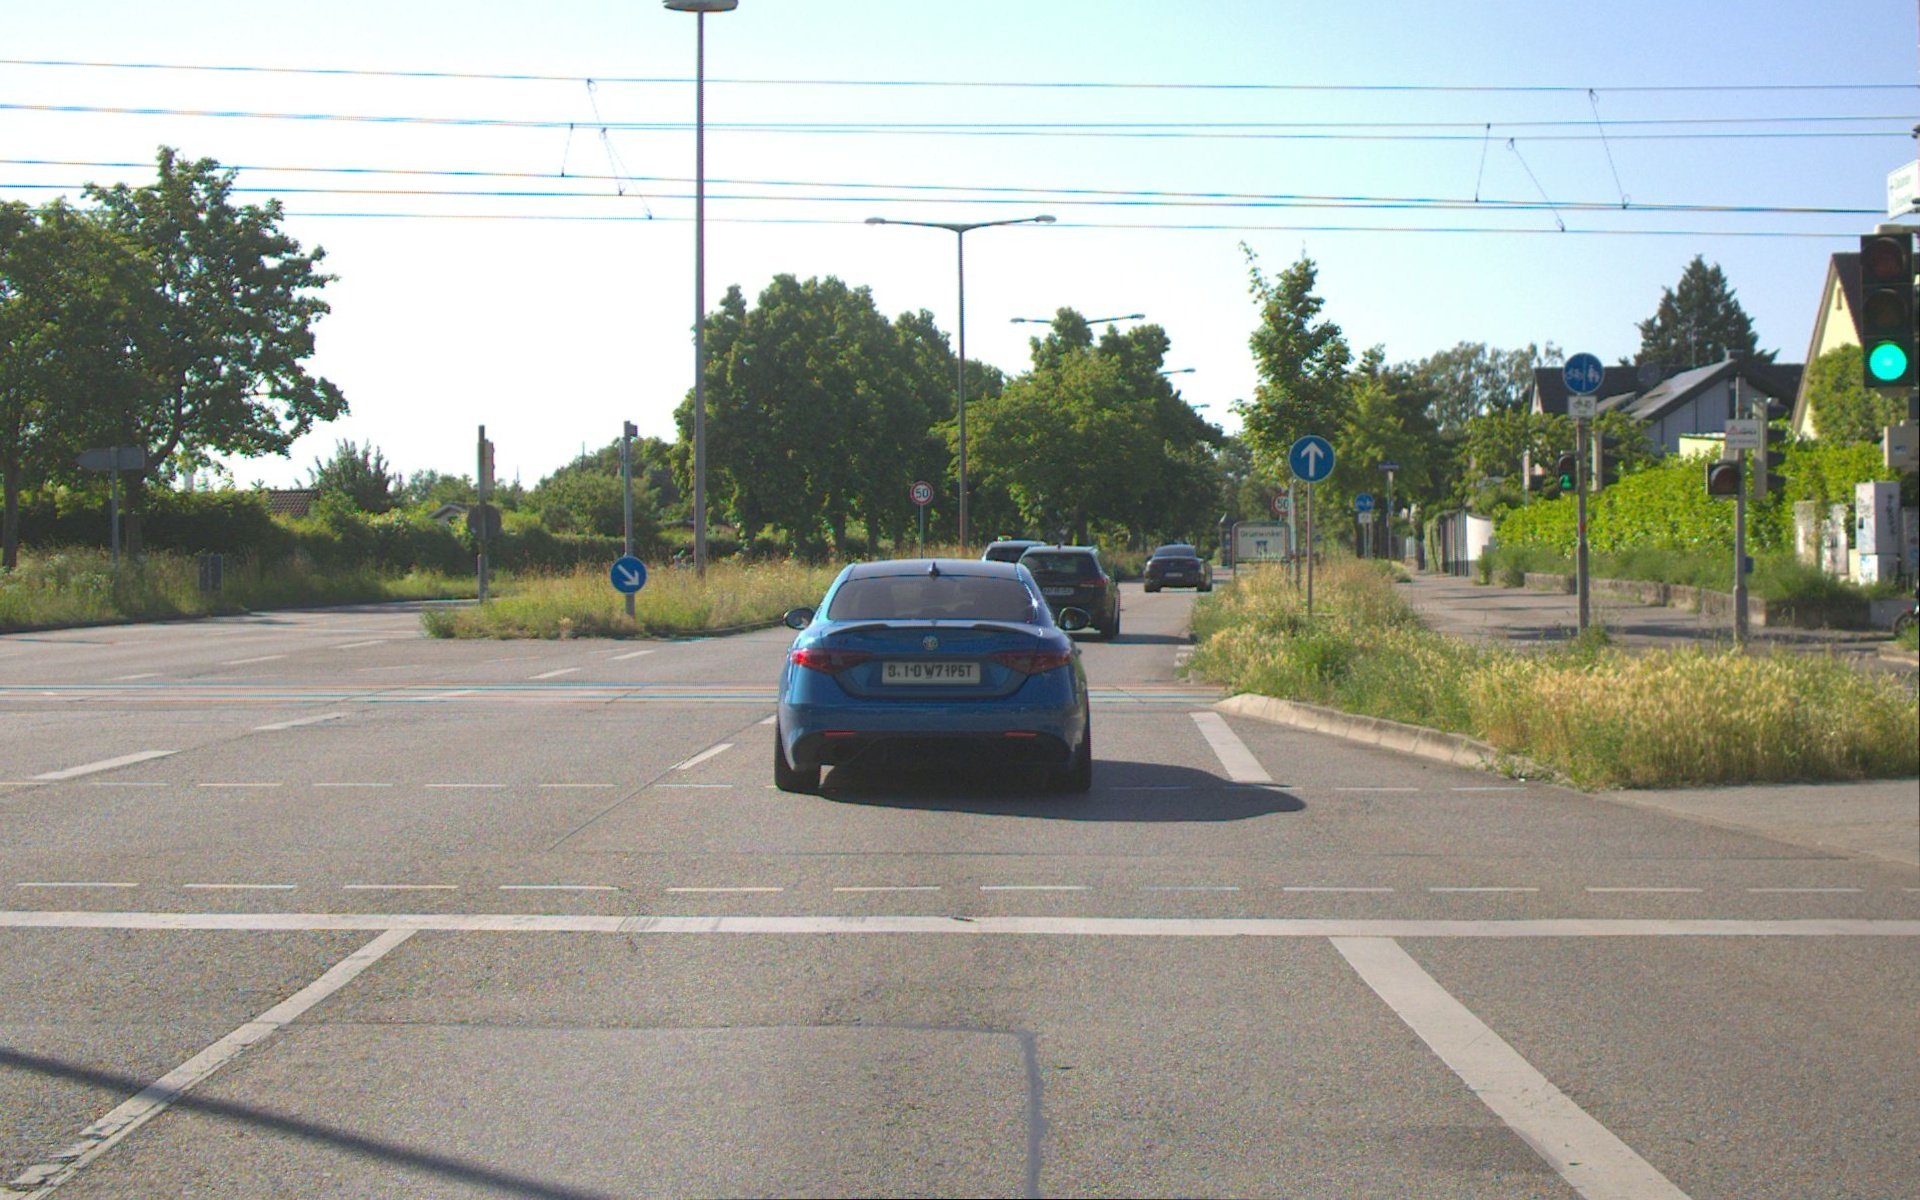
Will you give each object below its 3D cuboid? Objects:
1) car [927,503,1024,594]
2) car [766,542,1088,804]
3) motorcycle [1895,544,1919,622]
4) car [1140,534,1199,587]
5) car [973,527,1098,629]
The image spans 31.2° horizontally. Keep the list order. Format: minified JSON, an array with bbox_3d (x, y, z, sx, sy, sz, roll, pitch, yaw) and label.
[{"bbox_3d":[0.381,-1.164,77.585,1.793,2.007,3.999,0,1,6],"label":"car"},{"bbox_3d":[-0.221,0.379,21.749,1.838,1.469,4.185,0,1,-1],"label":"car"},{"bbox_3d":[13.921,-0.261,47.710,1.756,1.067,0.451,-1,1,6],"label":"motorcycle"},{"bbox_3d":[6.387,-1.220,104.458,1.661,1.574,3.808,0,1,6],"label":"car"},{"bbox_3d":[1.259,-0.376,55.606,1.915,1.574,4.182,0,1,3],"label":"car"}]
